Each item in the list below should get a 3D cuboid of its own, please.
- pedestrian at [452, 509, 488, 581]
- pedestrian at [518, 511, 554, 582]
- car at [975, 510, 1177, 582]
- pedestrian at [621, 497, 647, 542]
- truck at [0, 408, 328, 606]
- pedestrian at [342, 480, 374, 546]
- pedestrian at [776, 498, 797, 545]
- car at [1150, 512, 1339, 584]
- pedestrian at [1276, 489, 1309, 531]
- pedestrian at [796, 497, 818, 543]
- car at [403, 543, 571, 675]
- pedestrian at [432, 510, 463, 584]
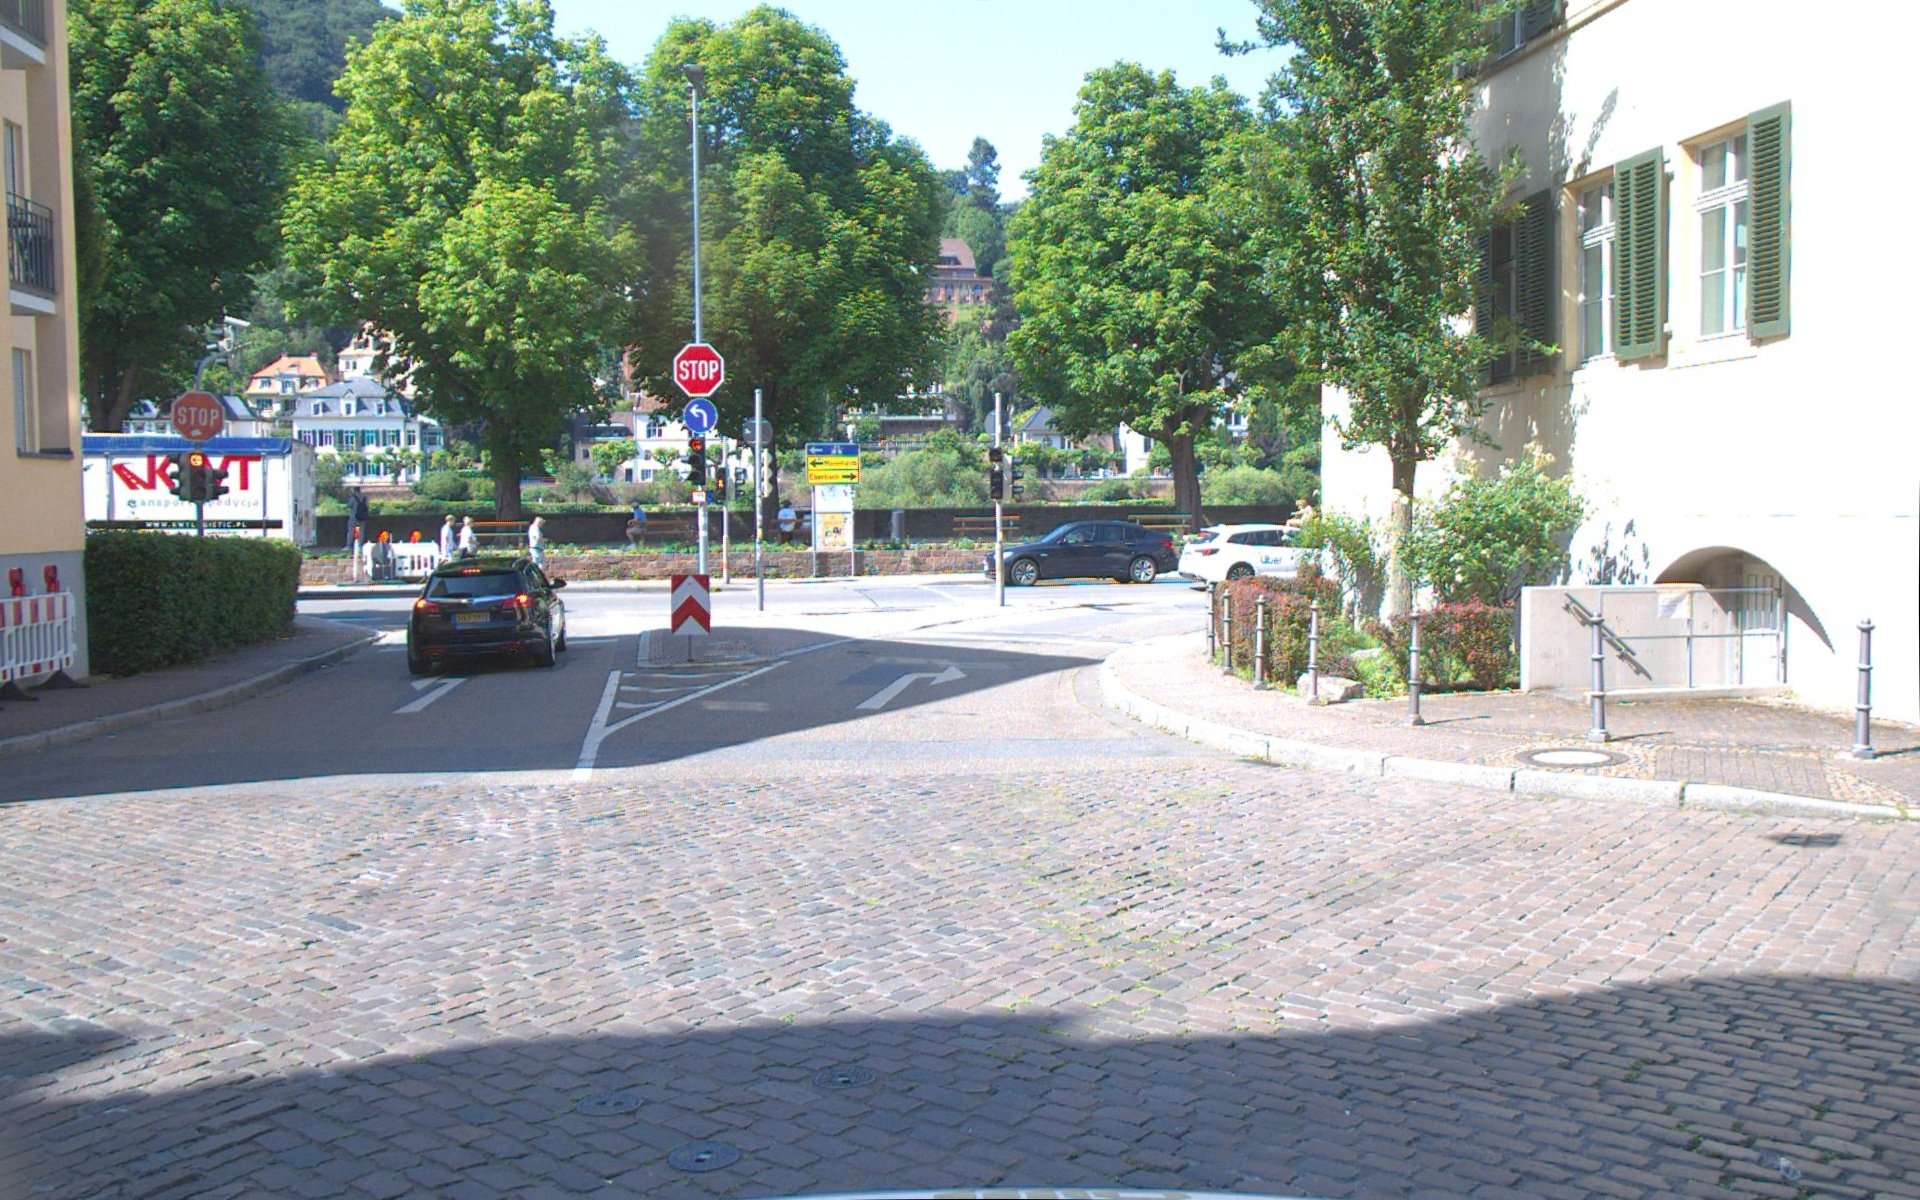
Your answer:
[{"bbox_3d":[-12.640,-1.424,42.683,0.708,1.833,0.633,-2,2,-7],"label":"pedestrian"},{"bbox_3d":[-10.909,-1.378,42.572,0.674,1.800,0.717,-2,2,-3],"label":"pedestrian"},{"bbox_3d":[2.878,-1.368,41.409,4.678,1.543,1.901,-3,2,-11],"label":"car"},{"bbox_3d":[-9.188,-2.269,46.557,0.632,1.249,0.411,-2,1,-23],"label":"pedestrian"},{"bbox_3d":[-19.465,-2.032,37.238,9.219,4.117,2.854,-3,2,-12],"label":"truck"},{"bbox_3d":[-17.437,-2.505,47.924,0.754,1.890,0.750,-1,2,-27],"label":"pedestrian"},{"bbox_3d":[-4.978,-2.258,47.405,0.542,1.301,0.703,1,-1,-8],"label":"pedestrian"},{"bbox_3d":[6.516,-1.200,37.979,3.915,1.467,1.704,-2,2,-10],"label":"car"},{"bbox_3d":[10.129,-2.731,50.430,0.782,1.232,0.714,1,0,-7],"label":"pedestrian"},{"bbox_3d":[-4.423,-2.308,47.858,0.543,1.249,0.984,1,0,-9],"label":"pedestrian"},{"bbox_3d":[-6.443,0.031,22.979,1.683,1.487,4.714,-3,3,-10],"label":"car"},{"bbox_3d":[-12.862,-1.333,41.521,0.567,1.833,0.704,-2,2,-7],"label":"pedestrian"}]
